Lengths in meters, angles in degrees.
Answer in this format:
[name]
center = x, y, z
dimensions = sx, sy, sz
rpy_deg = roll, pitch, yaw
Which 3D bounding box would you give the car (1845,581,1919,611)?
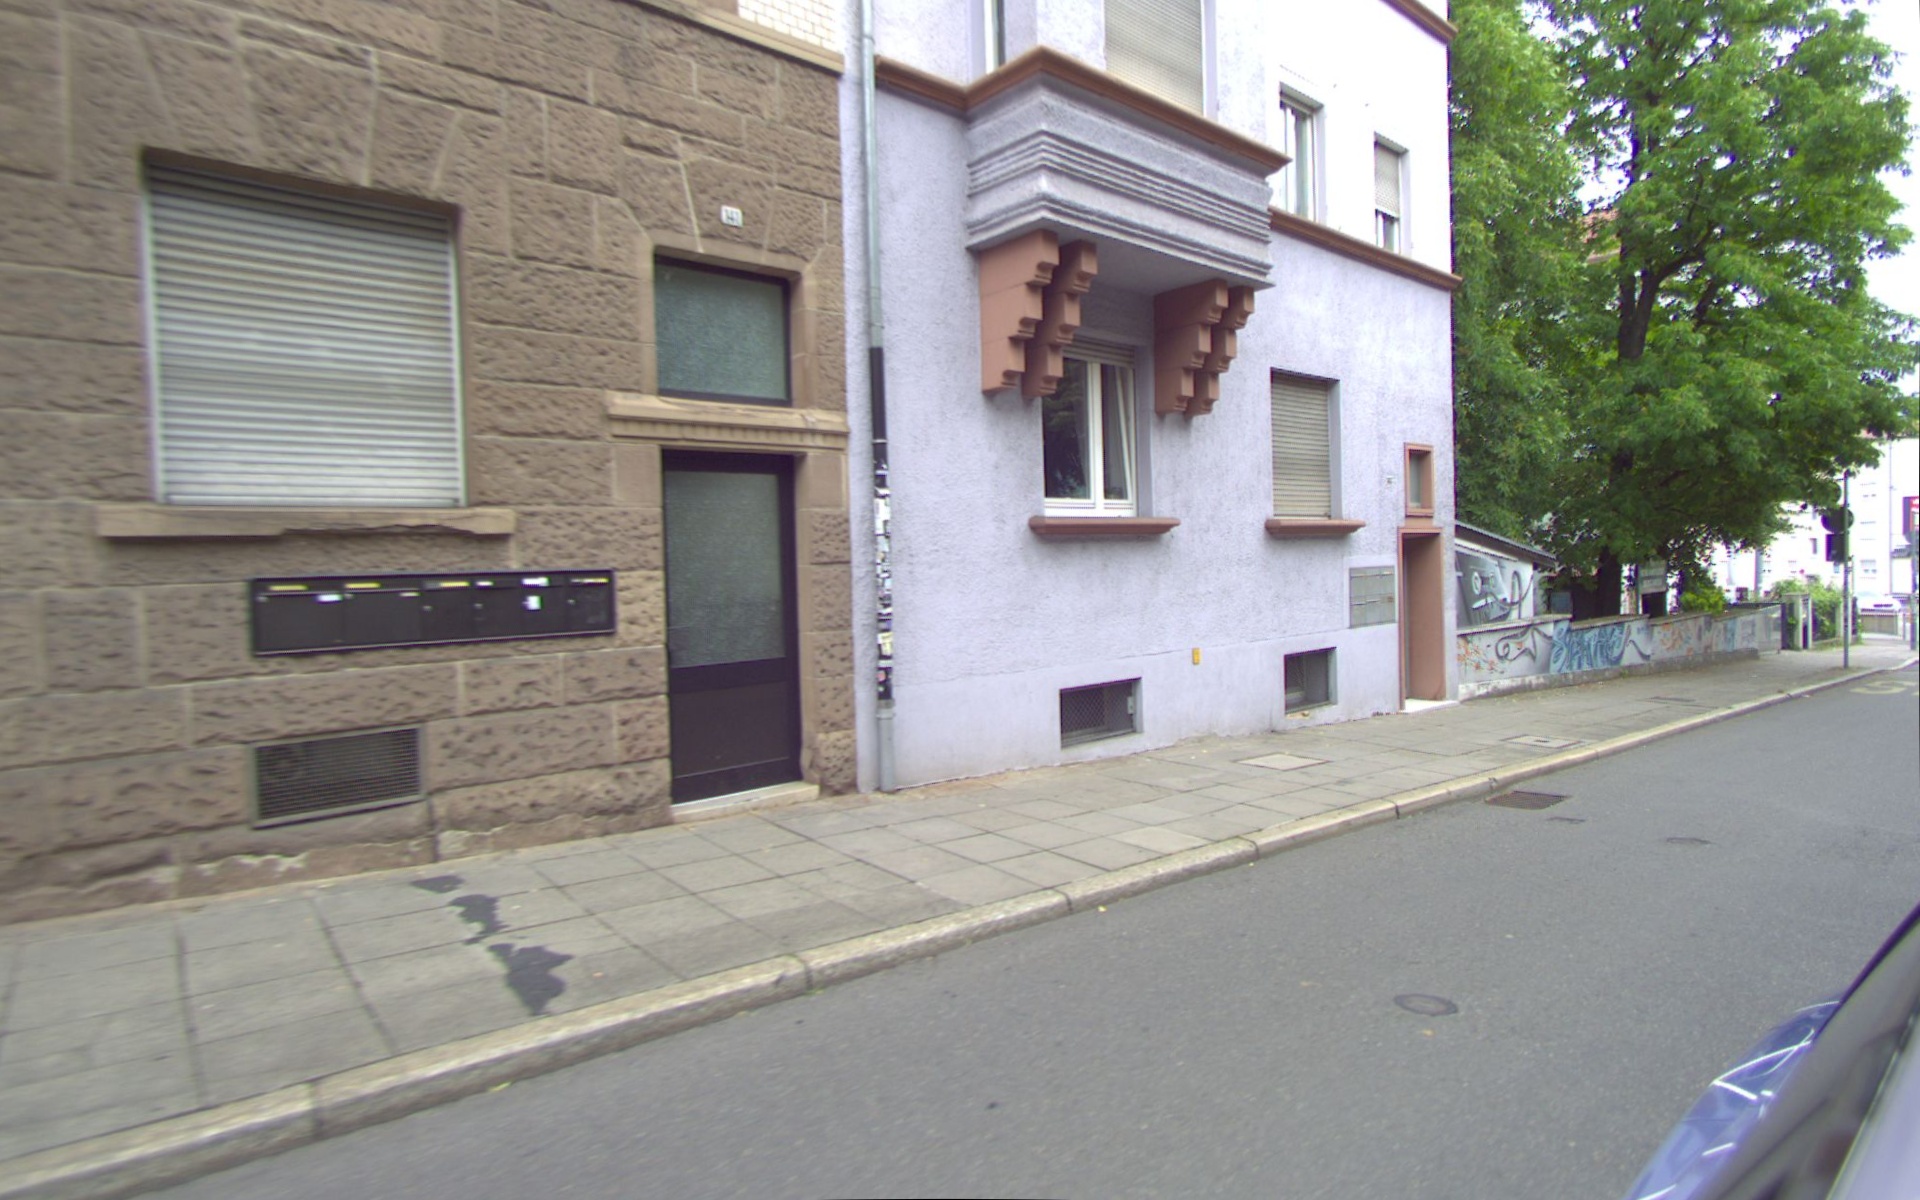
[car]
center = 49.552, -0.197, 54.403
dimensions = 1.935, 1.570, 3.999
rpy_deg = -1, 0, 26
